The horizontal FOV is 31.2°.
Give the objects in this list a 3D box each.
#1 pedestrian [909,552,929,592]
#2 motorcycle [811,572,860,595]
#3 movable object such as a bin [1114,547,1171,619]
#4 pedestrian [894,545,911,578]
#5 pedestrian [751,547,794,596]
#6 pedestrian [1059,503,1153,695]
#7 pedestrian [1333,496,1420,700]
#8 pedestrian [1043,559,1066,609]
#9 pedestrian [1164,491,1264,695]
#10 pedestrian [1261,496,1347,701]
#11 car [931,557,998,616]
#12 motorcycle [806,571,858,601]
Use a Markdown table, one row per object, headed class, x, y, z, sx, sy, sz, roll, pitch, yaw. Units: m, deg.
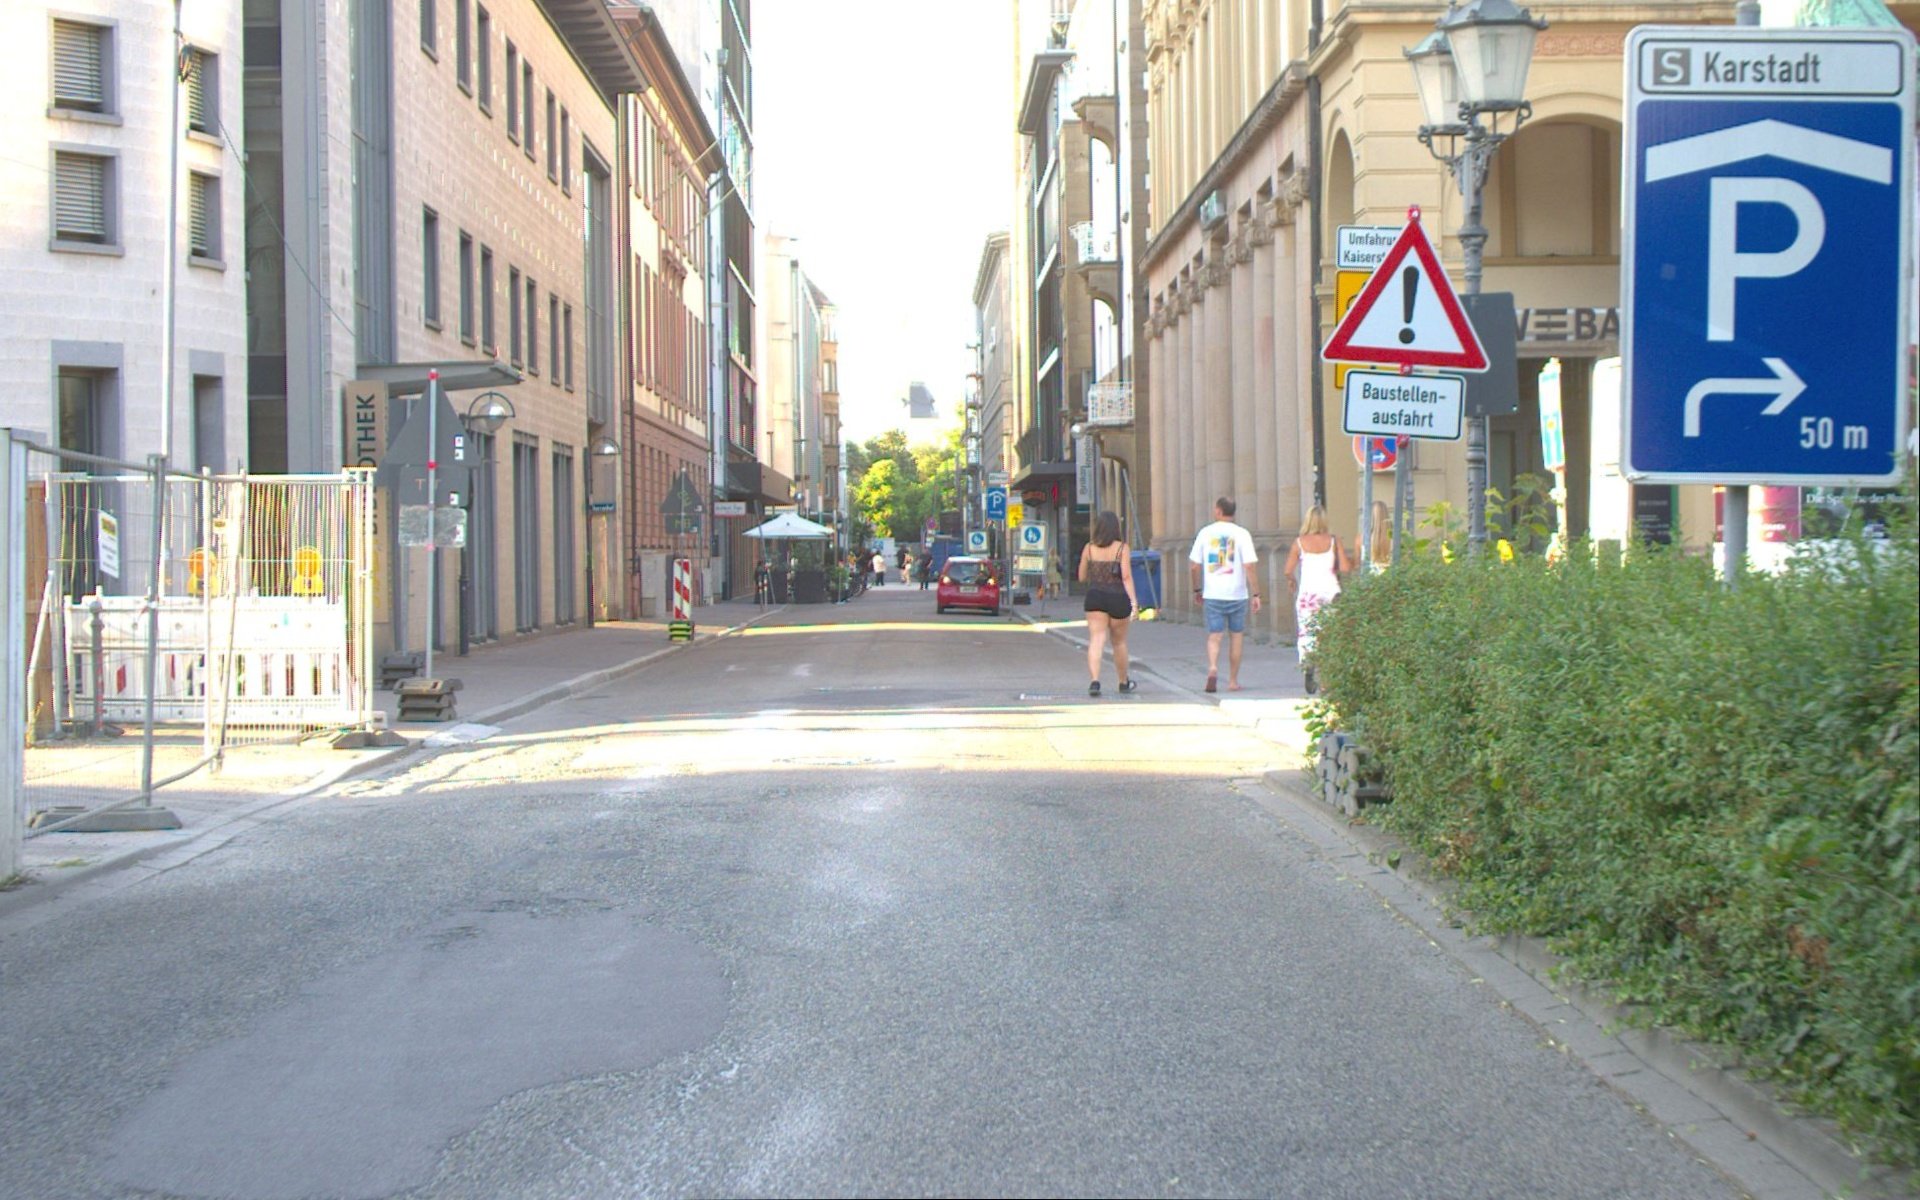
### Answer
| class | x | y | z | sx | sy | sz | roll | pitch | yaw |
| --- | --- | --- | --- | --- | --- | --- | --- | --- | --- |
| pedestrian | -1.762 | -1.214 | 147.237 | 0.865 | 1.707 | 0.852 | 0 | 0 | -1 |
| motorcycle | -4.683 | -0.620 | 128.867 | 1.801 | 0.872 | 0.560 | 0 | 0 | -4 |
| movable object such as a bin | 3.604 | -0.349 | 68.053 | 0.990 | 1.387 | 1.241 | -1 | 1 | -1 |
| pedestrian | -2.944 | -1.972 | 175.192 | 0.804 | 1.667 | 0.888 | -1 | 1 | 1 |
| pedestrian | -5.701 | -0.866 | 104.805 | 1.290 | 1.482 | 0.661 | 0 | 0 | -2 |
| pedestrian | 1.348 | -0.014 | 31.831 | 0.775 | 1.740 | 0.875 | -1 | 0 | -2 |
| pedestrian | 3.733 | -0.023 | 30.855 | 0.636 | 1.797 | 0.772 | -1 | 0 | -2 |
| pedestrian | 2.894 | -0.491 | 105.141 | 0.656 | 1.482 | 0.493 | -1 | 0 | 2 |
| pedestrian | 2.369 | -0.067 | 32.189 | 0.812 | 1.869 | 0.875 | -1 | 0 | -2 |
| pedestrian | 3.082 | -0.017 | 30.819 | 0.636 | 1.797 | 0.772 | -1 | 0 | -2 |
| car | 0.111 | -0.357 | 89.030 | 1.649 | 1.422 | 3.535 | 2 | 1 | 0 |
| motorcycle | -4.509 | -0.481 | 120.756 | 1.801 | 1.037 | 0.494 | 0 | 0 | -4 |
